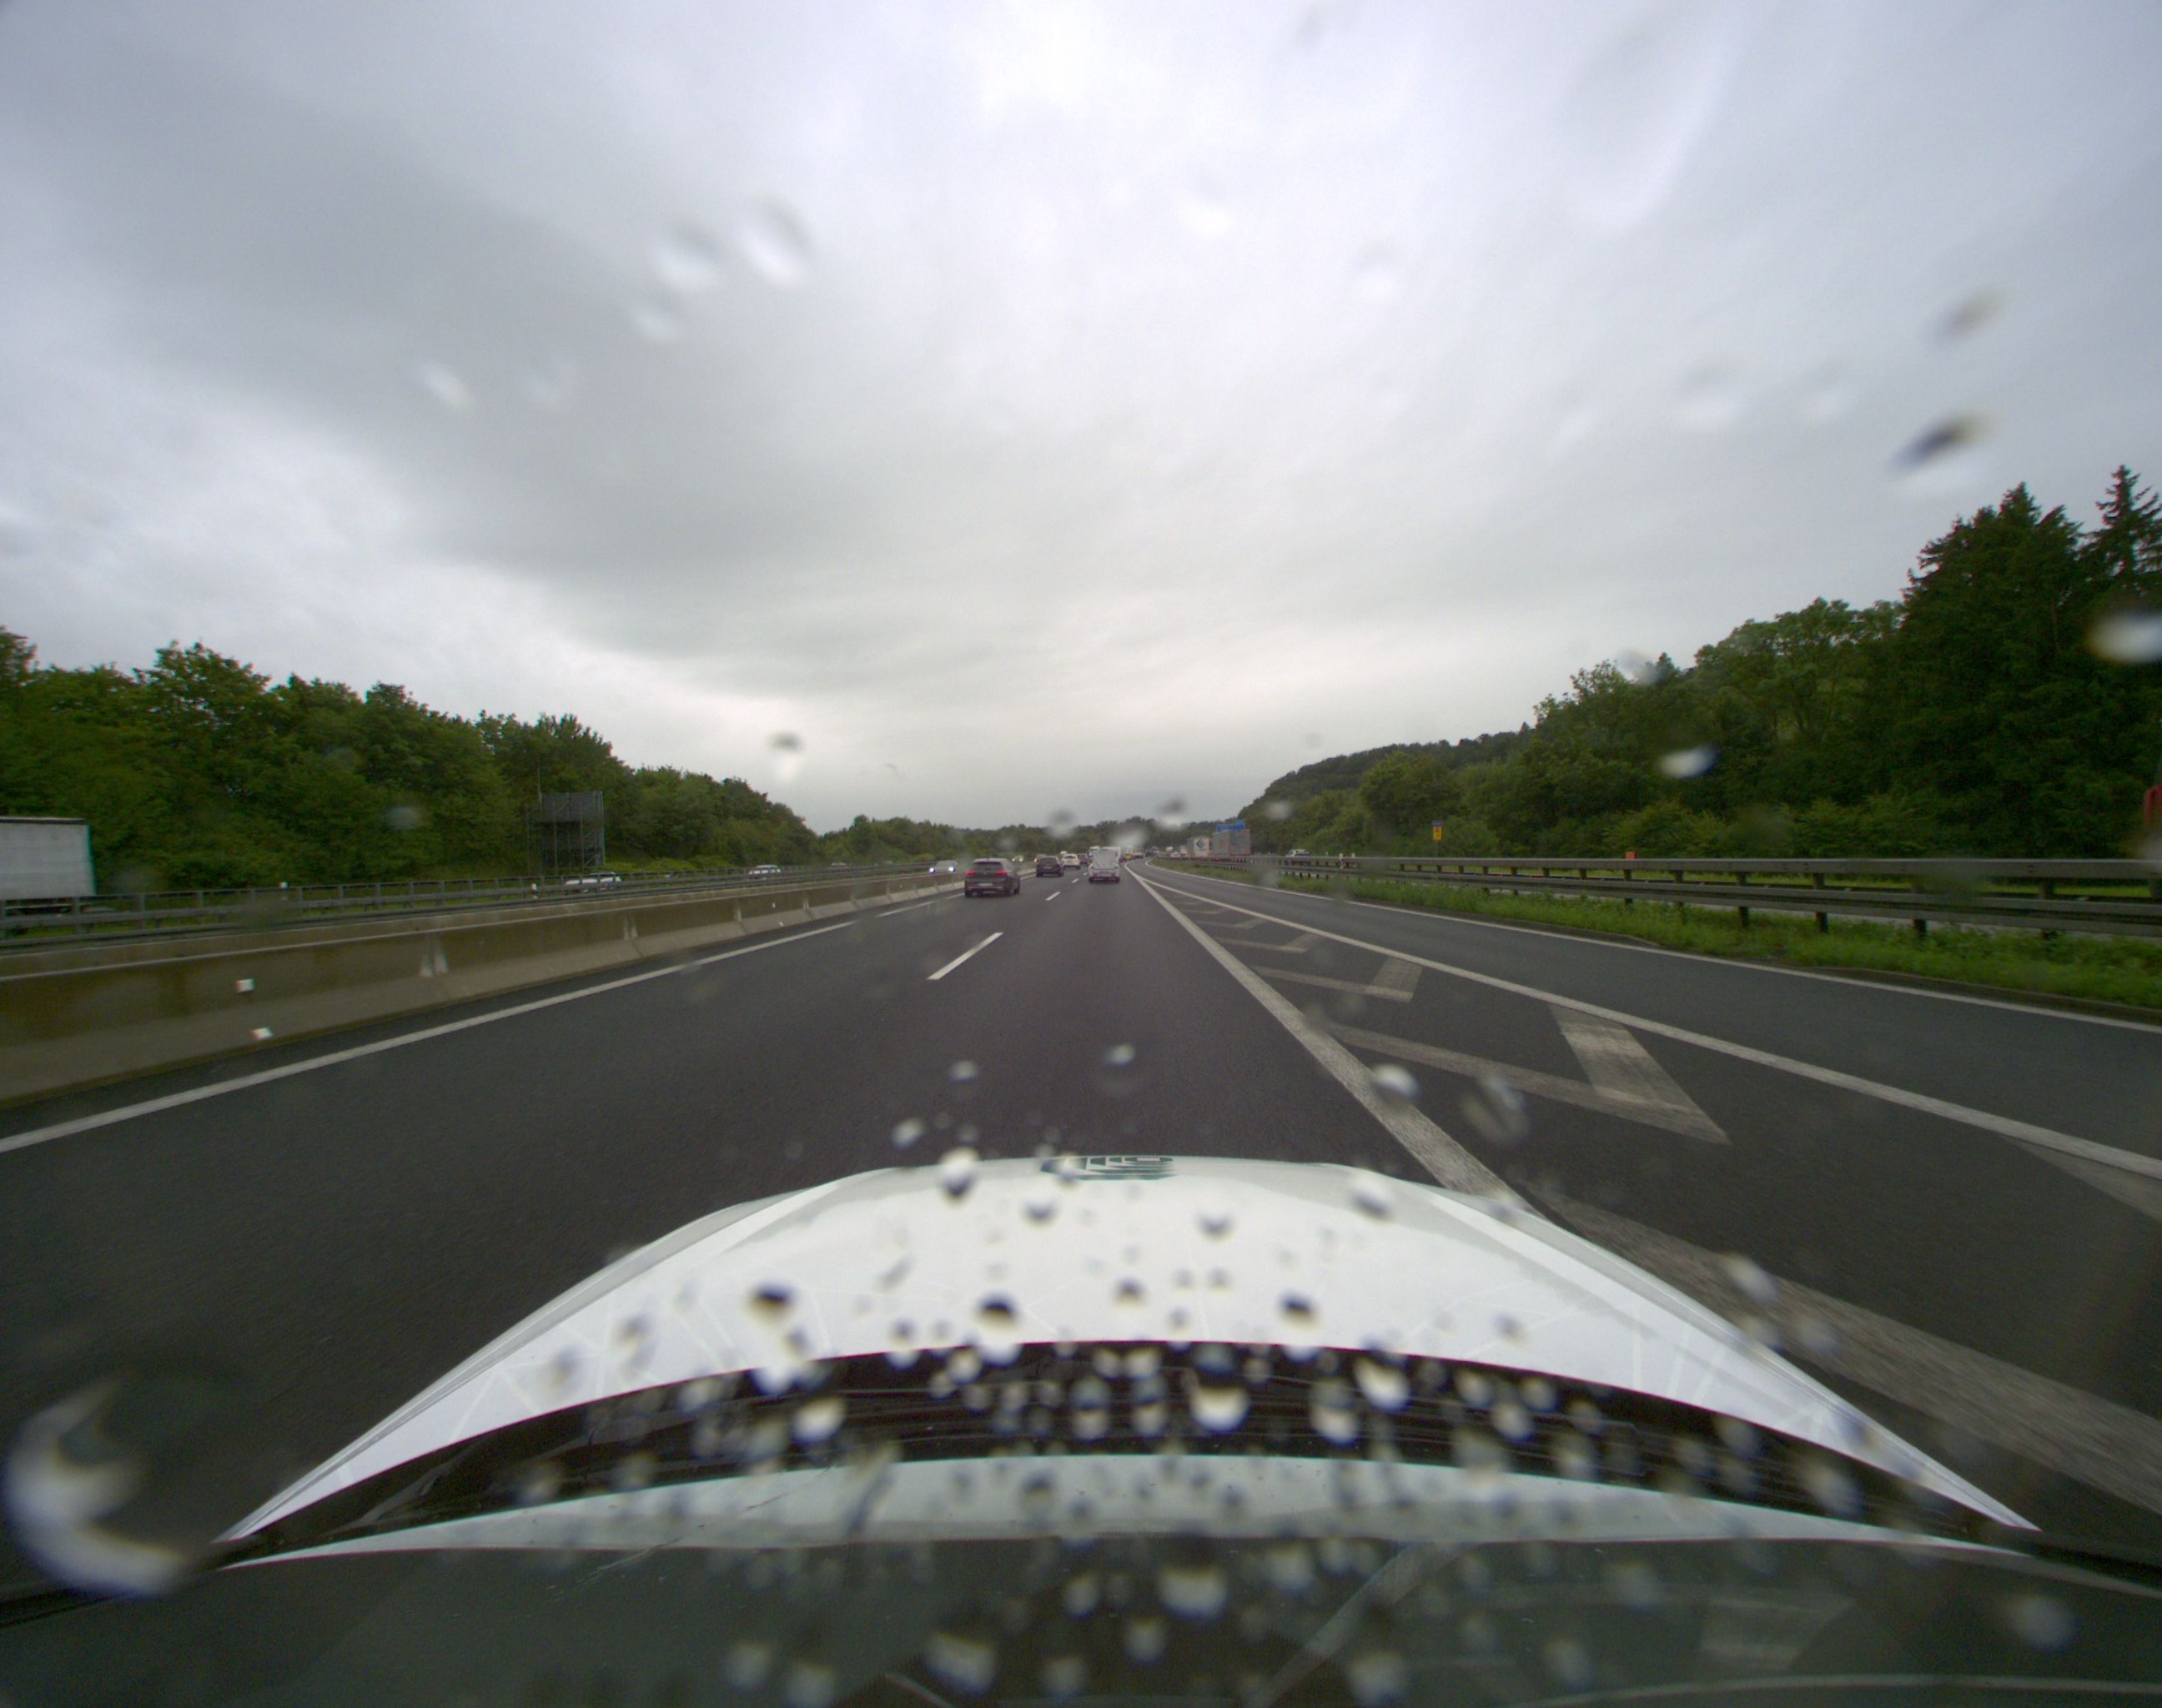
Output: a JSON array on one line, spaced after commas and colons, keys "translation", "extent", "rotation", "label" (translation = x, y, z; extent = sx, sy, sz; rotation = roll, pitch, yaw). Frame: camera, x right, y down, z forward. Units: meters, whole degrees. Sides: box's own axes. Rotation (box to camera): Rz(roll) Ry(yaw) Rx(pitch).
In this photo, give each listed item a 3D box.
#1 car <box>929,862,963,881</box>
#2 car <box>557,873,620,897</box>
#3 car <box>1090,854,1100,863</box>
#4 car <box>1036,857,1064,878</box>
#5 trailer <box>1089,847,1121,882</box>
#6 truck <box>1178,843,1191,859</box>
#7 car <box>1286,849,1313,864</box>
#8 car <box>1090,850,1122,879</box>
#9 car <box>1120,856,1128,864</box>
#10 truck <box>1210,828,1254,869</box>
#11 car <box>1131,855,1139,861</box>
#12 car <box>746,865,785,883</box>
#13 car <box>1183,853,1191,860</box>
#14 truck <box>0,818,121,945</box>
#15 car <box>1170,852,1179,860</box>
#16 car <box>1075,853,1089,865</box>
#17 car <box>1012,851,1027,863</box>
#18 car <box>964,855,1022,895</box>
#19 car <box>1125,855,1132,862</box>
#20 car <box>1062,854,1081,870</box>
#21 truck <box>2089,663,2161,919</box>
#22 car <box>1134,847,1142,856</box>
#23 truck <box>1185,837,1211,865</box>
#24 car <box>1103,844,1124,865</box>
[{"translation": [-10.686, 1.377, 64.657], "extent": [1.749, 1.456, 4.420], "rotation": [-1, 0, 2], "label": "car"}, {"translation": [-33.104, 2.043, 54.895], "extent": [1.669, 1.456, 4.002], "rotation": [-1, 0, 2], "label": "car"}, {"translation": [2.725, 0.858, 157.616], "extent": [1.769, 1.640, 4.045], "rotation": [-1, 0, 2], "label": "car"}, {"translation": [-2.222, 0.930, 59.208], "extent": [1.758, 1.456, 4.002], "rotation": [-1, 0, 2], "label": "car"}, {"translation": [1.362, 0.578, 45.485], "extent": [1.669, 1.812, 4.003], "rotation": [-1, 0, 3], "label": "trailer"}, {"translation": [30.807, -0.862, 241.508], "extent": [3.643, 4.666, 13.058], "rotation": [-1, 0, 7], "label": "truck"}, {"translation": [21.904, 0.232, 81.664], "extent": [1.670, 1.456, 4.001], "rotation": [0, 0, 1], "label": "car"}, {"translation": [1.527, 0.612, 49.000], "extent": [1.811, 1.616, 4.781], "rotation": [-1, 0, 3], "label": "car"}, {"translation": [9.627, 1.337, 183.105], "extent": [1.668, 1.812, 4.005], "rotation": [-1, 0, 4], "label": "car"}, {"translation": [18.228, -0.591, 99.175], "extent": [3.204, 4.666, 13.034], "rotation": [0, 0, 1], "label": "truck"}, {"translation": [14.796, 1.054, 224.139], "extent": [2.028, 1.683, 4.005], "rotation": [-1, 0, 5], "label": "car"}, {"translation": [-27.832, 1.748, 72.061], "extent": [1.670, 1.456, 4.632], "rotation": [0, 0, 0], "label": "car"}, {"translation": [25.509, 0.596, 196.080], "extent": [1.668, 1.456, 4.004], "rotation": [-1, 0, 4], "label": "car"}, {"translation": [-34.672, 0.848, 23.146], "extent": [3.062, 3.879, 9.640], "rotation": [-1, 0, 2], "label": "truck"}, {"translation": [18.274, 0.388, 158.576], "extent": [1.667, 1.456, 4.006], "rotation": [-1, 0, 5], "label": "car"}, {"translation": [0.214, 0.700, 112.297], "extent": [1.769, 1.640, 4.045], "rotation": [-1, 0, 2], "label": "car"}, {"translation": [-10.513, 0.446, 139.004], "extent": [1.986, 2.014, 4.985], "rotation": [-1, 0, 2], "label": "car"}, {"translation": [-3.409, 0.781, 32.178], "extent": [1.669, 1.456, 4.002], "rotation": [-1, 0, 2], "label": "car"}, {"translation": [12.359, 1.142, 210.471], "extent": [1.668, 1.812, 4.005], "rotation": [-1, 0, 4], "label": "car"}, {"translation": [-1.004, 0.825, 86.042], "extent": [1.769, 1.640, 4.045], "rotation": [-1, 0, 2], "label": "car"}, {"translation": [17.781, -0.983, 10.053], "extent": [2.610, 3.885, 6.386], "rotation": [0, -1, -2], "label": "truck"}, {"translation": [17.429, -0.841, 248.672], "extent": [2.504, 2.574, 5.318], "rotation": [-1, 0, 4], "label": "car"}, {"translation": [19.984, -0.464, 139.670], "extent": [3.202, 4.666, 13.041], "rotation": [-1, 0, 3], "label": "truck"}, {"translation": [4.246, 0.105, 104.554], "extent": [2.496, 2.585, 5.706], "rotation": [-1, 0, 4], "label": "car"}]
